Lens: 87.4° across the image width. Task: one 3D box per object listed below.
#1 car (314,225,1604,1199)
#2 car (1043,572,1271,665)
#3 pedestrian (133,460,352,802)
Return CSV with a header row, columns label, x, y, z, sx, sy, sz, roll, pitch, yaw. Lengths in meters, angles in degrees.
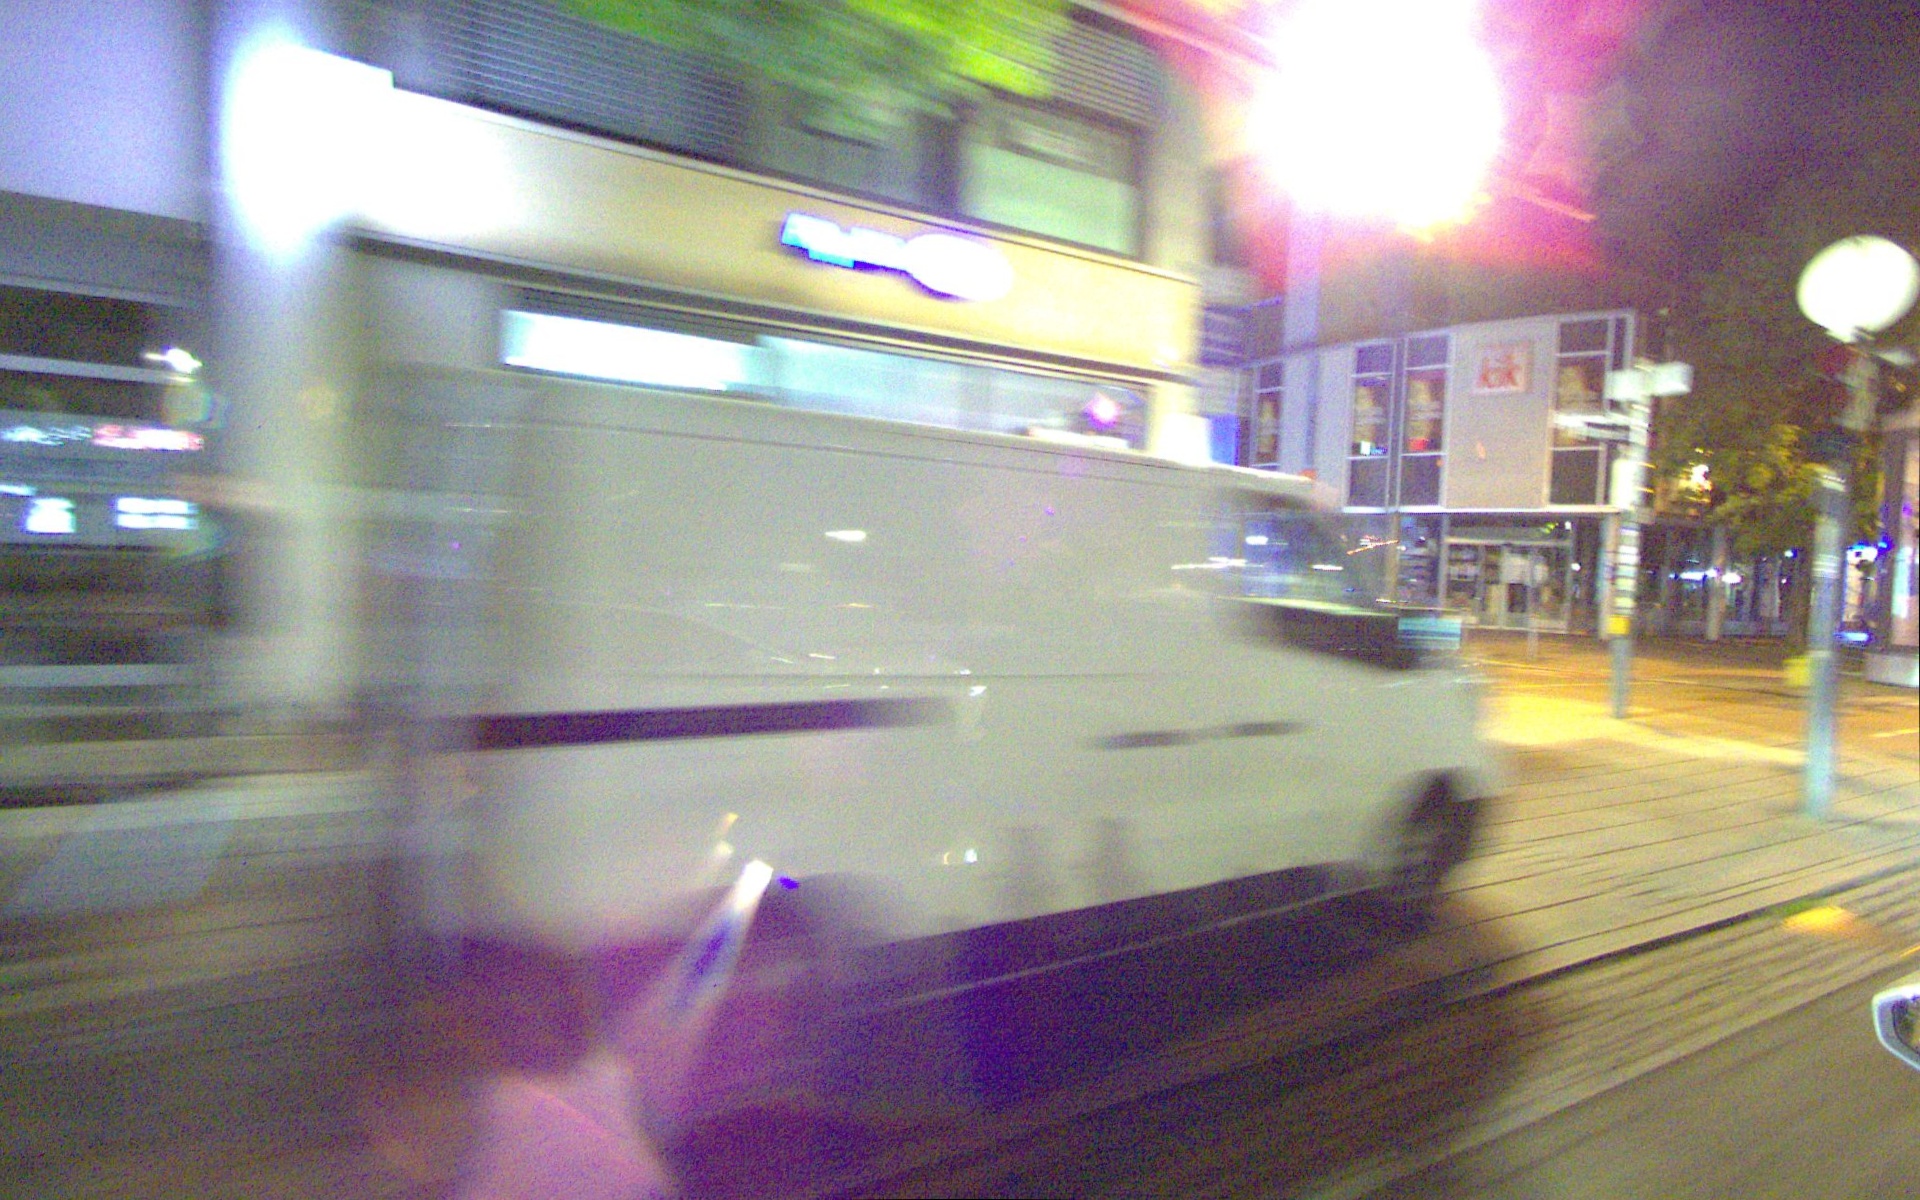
label,x,y,z,sx,sy,sz,roll,pitch,yaw
car,0.372,0.329,4.108,5.037,2.115,1.841,1,4,-34
car,3.488,0.267,18.666,1.781,1.416,4.309,1,2,-29
pedestrian,-3.966,0.158,5.624,0.897,1.742,0.666,1,2,-29
